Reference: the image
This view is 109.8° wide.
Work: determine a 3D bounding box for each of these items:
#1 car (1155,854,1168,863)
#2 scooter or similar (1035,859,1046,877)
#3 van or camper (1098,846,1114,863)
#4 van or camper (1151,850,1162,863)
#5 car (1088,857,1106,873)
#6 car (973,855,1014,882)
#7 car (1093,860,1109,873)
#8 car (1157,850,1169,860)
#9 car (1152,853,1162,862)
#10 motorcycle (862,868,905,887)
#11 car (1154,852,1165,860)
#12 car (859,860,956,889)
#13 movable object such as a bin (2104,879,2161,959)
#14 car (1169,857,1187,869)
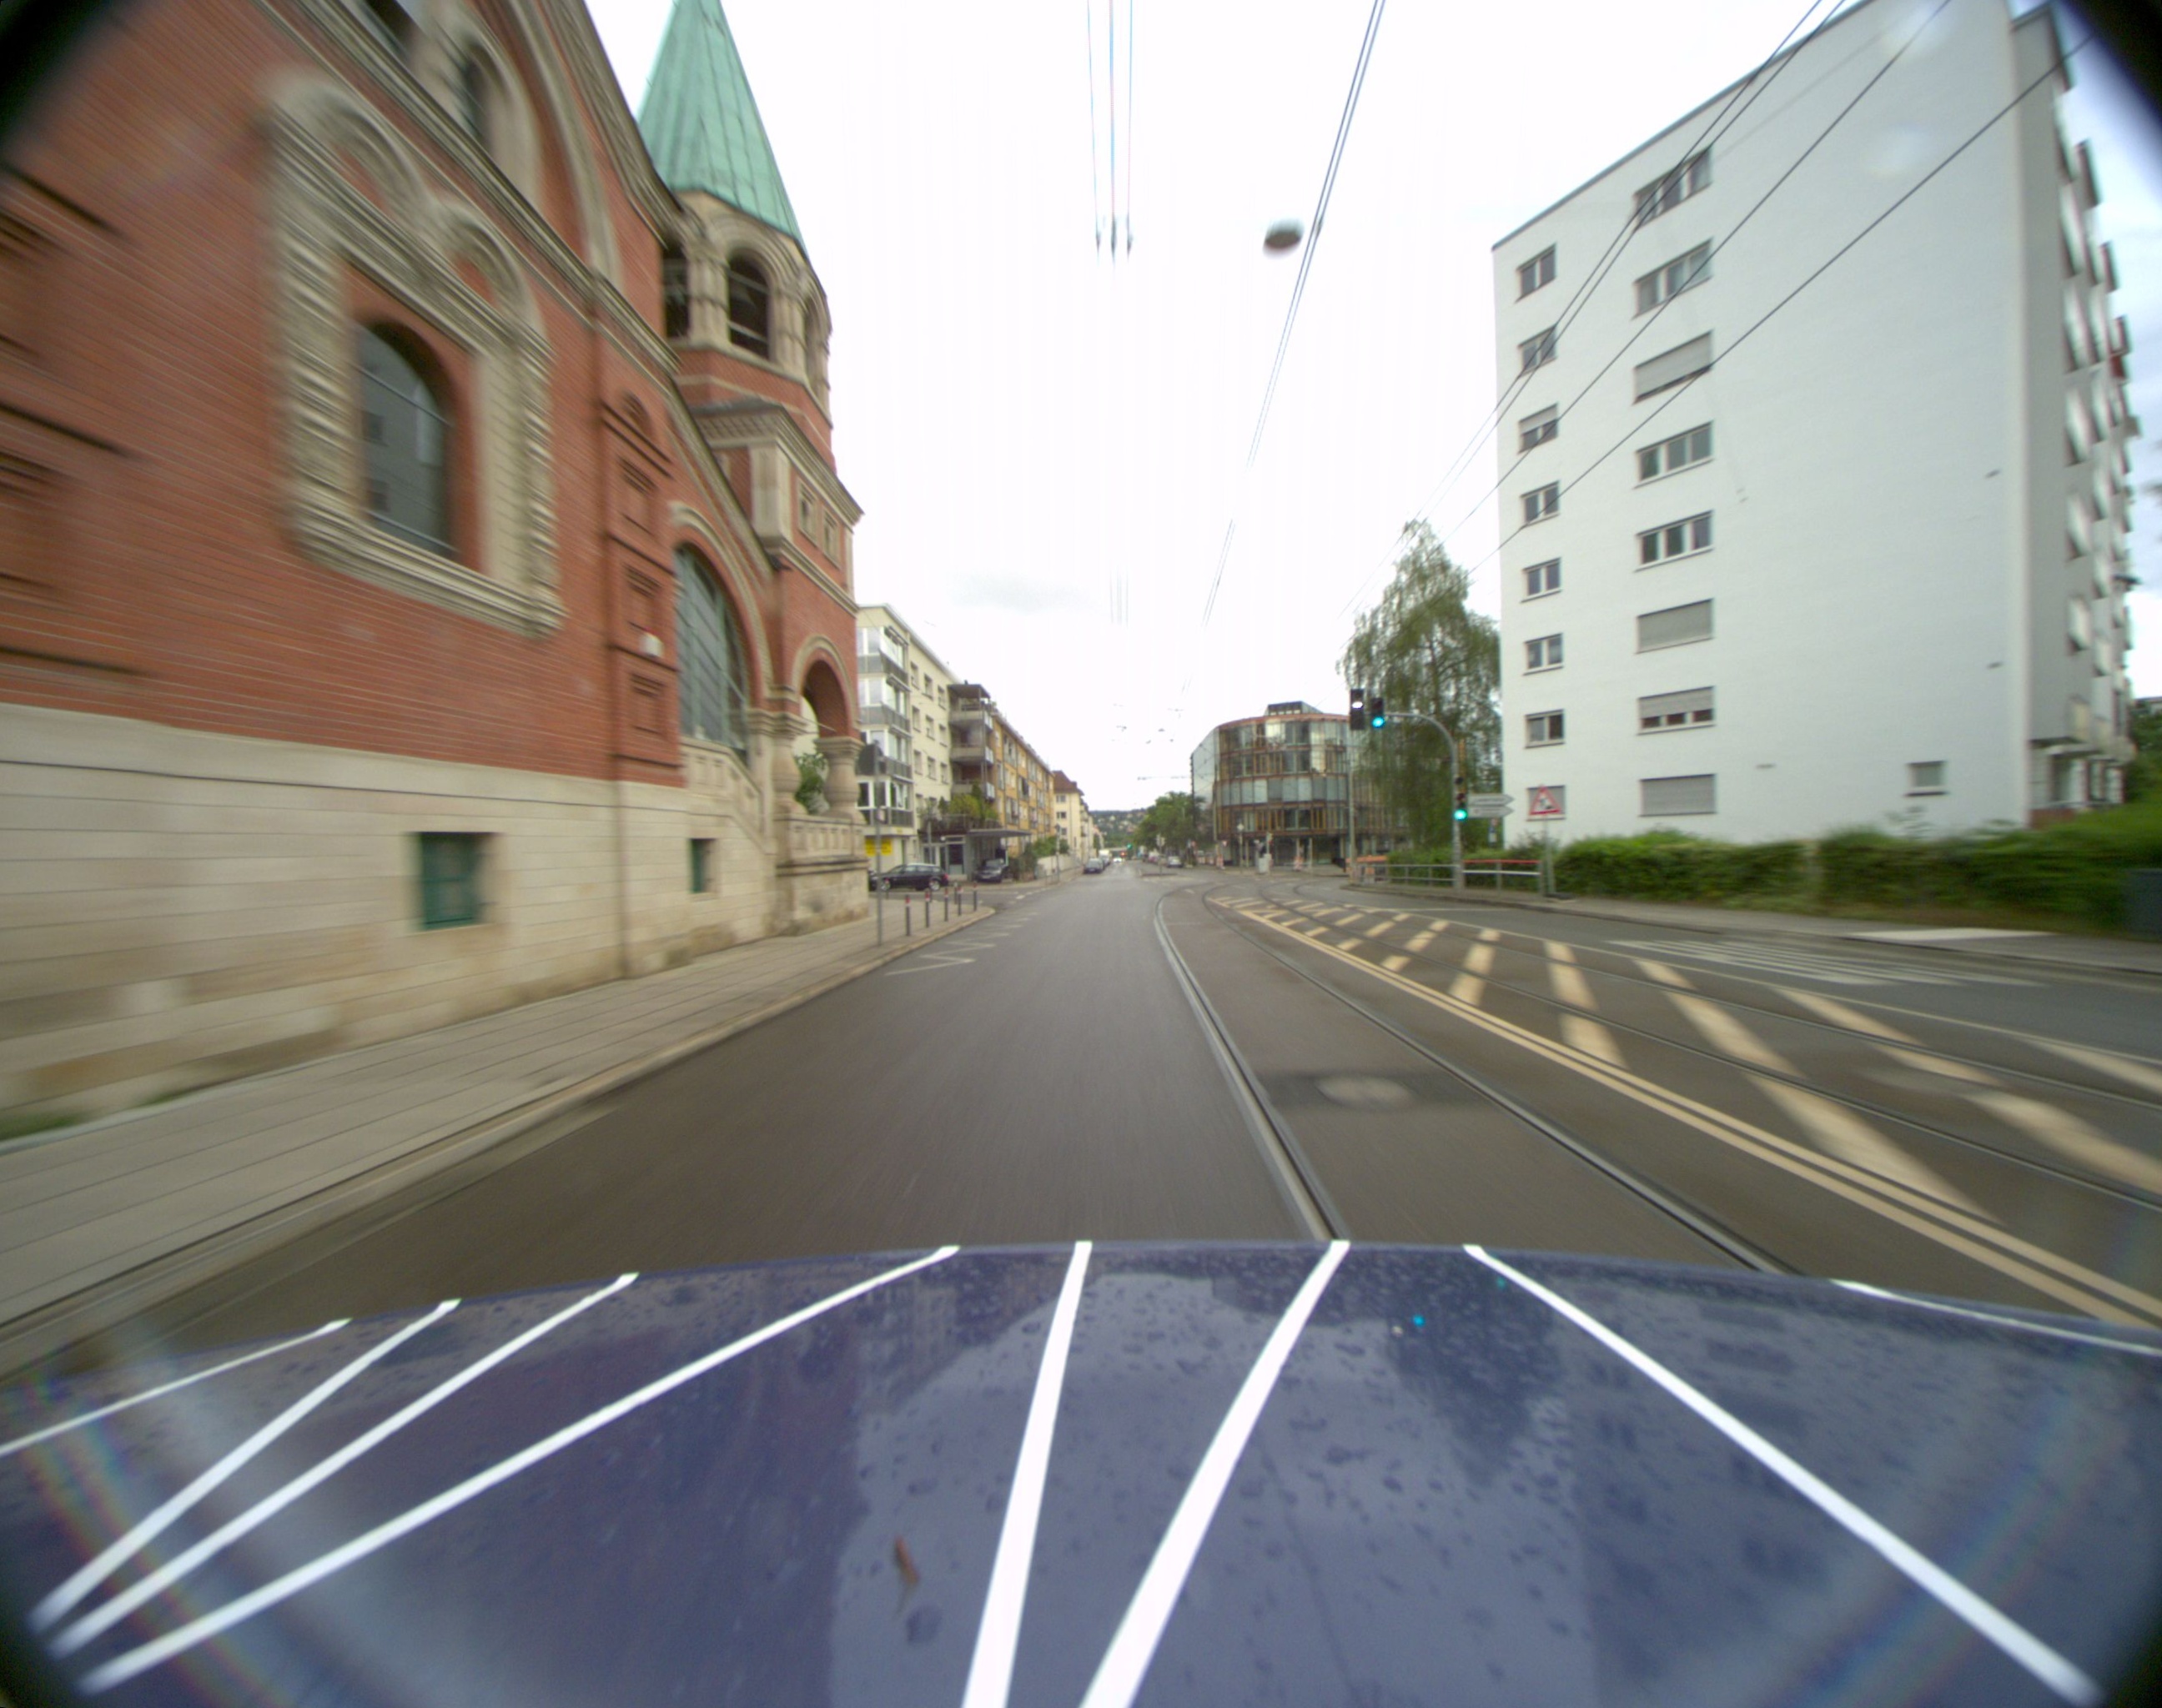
[{"bbox_3d":[14.458,0.823,136.865,1.880,1.390,3.999,-2,1,0],"label":"car"},{"bbox_3d":[-3.087,1.079,57.796,0.536,1.320,1.659,3,1,4],"label":"scooter or similar"},{"bbox_3d":[4.984,0.069,149.885,2.753,3.041,7.030,-3,1,4],"label":"van or camper"},{"bbox_3d":[16.687,0.518,168.391,2.143,2.588,5.550,-3,1,4],"label":"van or camper"},{"bbox_3d":[1.682,1.125,80.461,1.734,1.451,4.478,-3,1,3],"label":"car"},{"bbox_3d":[-5.568,0.909,49.102,1.857,1.494,4.449,1,2,4],"label":"car"},{"bbox_3d":[2.600,1.584,98.241,1.915,1.418,4.451,-3,1,3],"label":"car"},{"bbox_3d":[15.267,0.236,141.959,1.880,1.699,3.999,-2,1,0],"label":"car"},{"bbox_3d":[16.238,0.753,162.363,1.998,1.565,4.000,-3,1,2],"label":"car"},{"bbox_3d":[-10.834,1.291,41.737,2.218,0.973,0.550,2,-1,-39],"label":"motorcycle"},{"bbox_3d":[15.777,0.448,153.024,1.880,1.456,3.517,-2,1,0],"label":"car"},{"bbox_3d":[-8.873,1.095,39.097,4.459,1.448,1.997,2,-3,-43],"label":"car"},{"bbox_3d":[13.074,0.776,9.072,0.688,0.877,0.760,-3,2,-2],"label":"movable object such as a bin"},{"bbox_3d":[12.399,1.098,97.079,1.862,1.386,4.645,-2,0,2],"label":"car"}]
